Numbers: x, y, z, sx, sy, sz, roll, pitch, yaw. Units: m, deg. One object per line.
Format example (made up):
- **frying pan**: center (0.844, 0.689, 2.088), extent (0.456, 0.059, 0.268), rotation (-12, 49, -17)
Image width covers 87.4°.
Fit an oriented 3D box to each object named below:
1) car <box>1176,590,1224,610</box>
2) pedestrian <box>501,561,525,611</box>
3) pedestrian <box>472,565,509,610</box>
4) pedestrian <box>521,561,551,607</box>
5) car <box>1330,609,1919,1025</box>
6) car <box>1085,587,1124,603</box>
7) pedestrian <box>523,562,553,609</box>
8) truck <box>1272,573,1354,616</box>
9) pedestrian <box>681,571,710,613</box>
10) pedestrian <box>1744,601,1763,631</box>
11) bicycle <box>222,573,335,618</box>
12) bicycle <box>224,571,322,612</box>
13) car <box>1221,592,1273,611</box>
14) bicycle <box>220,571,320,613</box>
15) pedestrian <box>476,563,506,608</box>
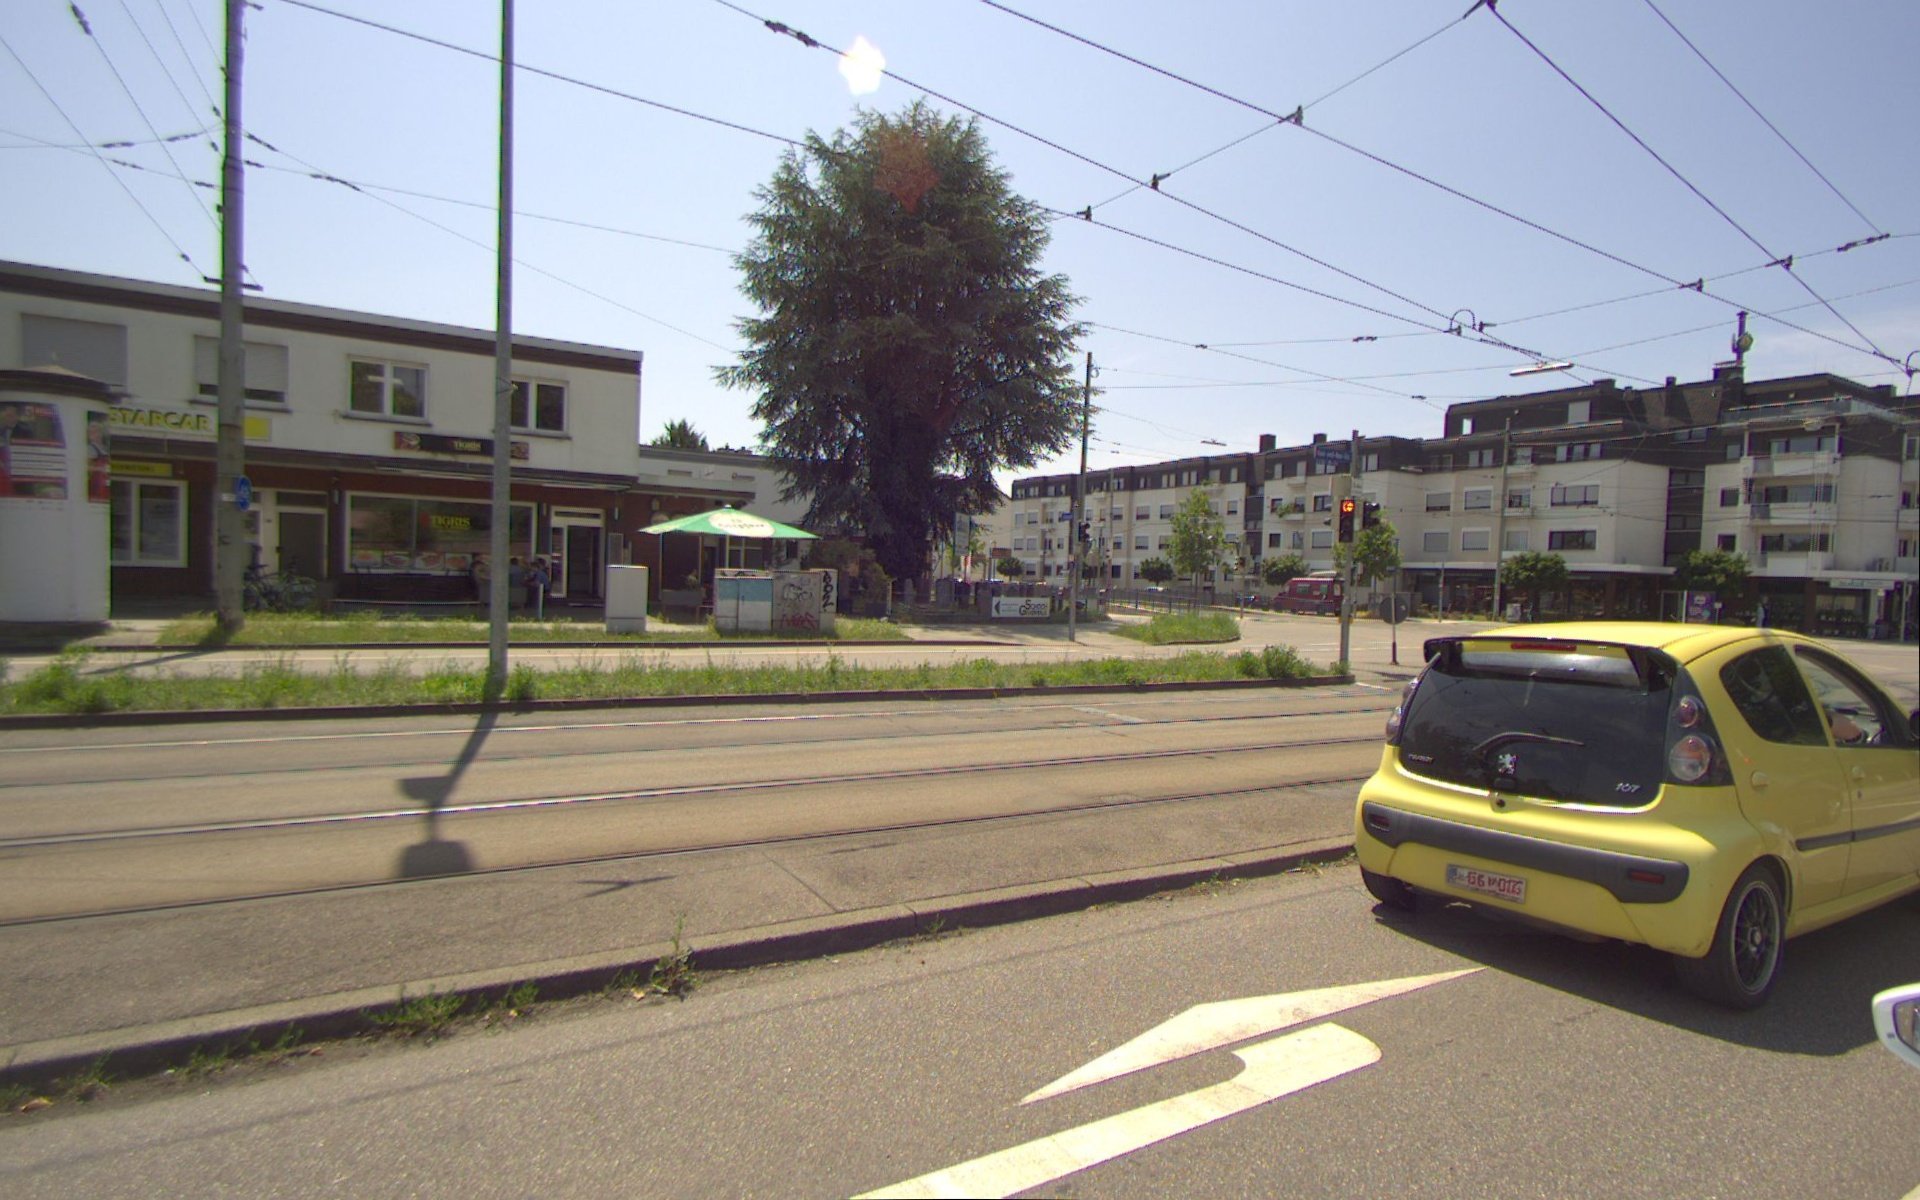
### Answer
- **car**: center (18.454, -0.005, 77.337), extent (1.571, 1.452, 3.553), rotation (1, 1, -29)
- **pedestrian**: center (-11.416, -0.360, 25.660), extent (0.486, 1.255, 0.572), rotation (1, 2, -31)
- **pedestrian**: center (-12.161, -0.321, 26.035), extent (0.801, 1.142, 0.561), rotation (1, 2, -30)
- **pedestrian**: center (-11.486, -0.441, 27.188), extent (0.666, 1.225, 0.514), rotation (1, 2, -30)
- **car**: center (3.757, 0.812, 5.137), extent (3.614, 1.440, 1.607), rotation (2, -1, -31)
- **car**: center (12.562, -0.478, 87.440), extent (1.571, 1.257, 3.553), rotation (1, 1, -29)
- **pedestrian**: center (-11.155, -0.380, 26.556), extent (0.666, 1.215, 0.514), rotation (1, 2, -30)
- **truck**: center (23.851, -0.389, 68.100), extent (2.161, 2.734, 5.002), rotation (1, 1, -29)
- **pedestrian**: center (-7.522, -0.227, 28.574), extent (0.666, 1.142, 0.514), rotation (1, 2, -30)
- **pedestrian**: center (46.575, 0.910, 58.975), extent (0.796, 1.719, 0.698), rotation (3, 2, 41)
- **bicycle**: center (-14.382, -0.086, 21.264), extent (1.936, 0.859, 0.599), rotation (2, 4, -31)
- **bicycle**: center (-15.492, -0.184, 22.697), extent (1.767, 0.859, 0.525), rotation (2, 4, -31)
- **car**: center (20.921, 0.094, 73.375), extent (1.571, 1.235, 3.553), rotation (1, 1, -29)
- **bicycle**: center (-15.197, -0.172, 22.175), extent (1.767, 0.859, 0.525), rotation (2, 4, -31)
- **pedestrian**: center (-12.437, -0.382, 26.646), extent (0.666, 1.179, 0.514), rotation (1, 2, -30)
